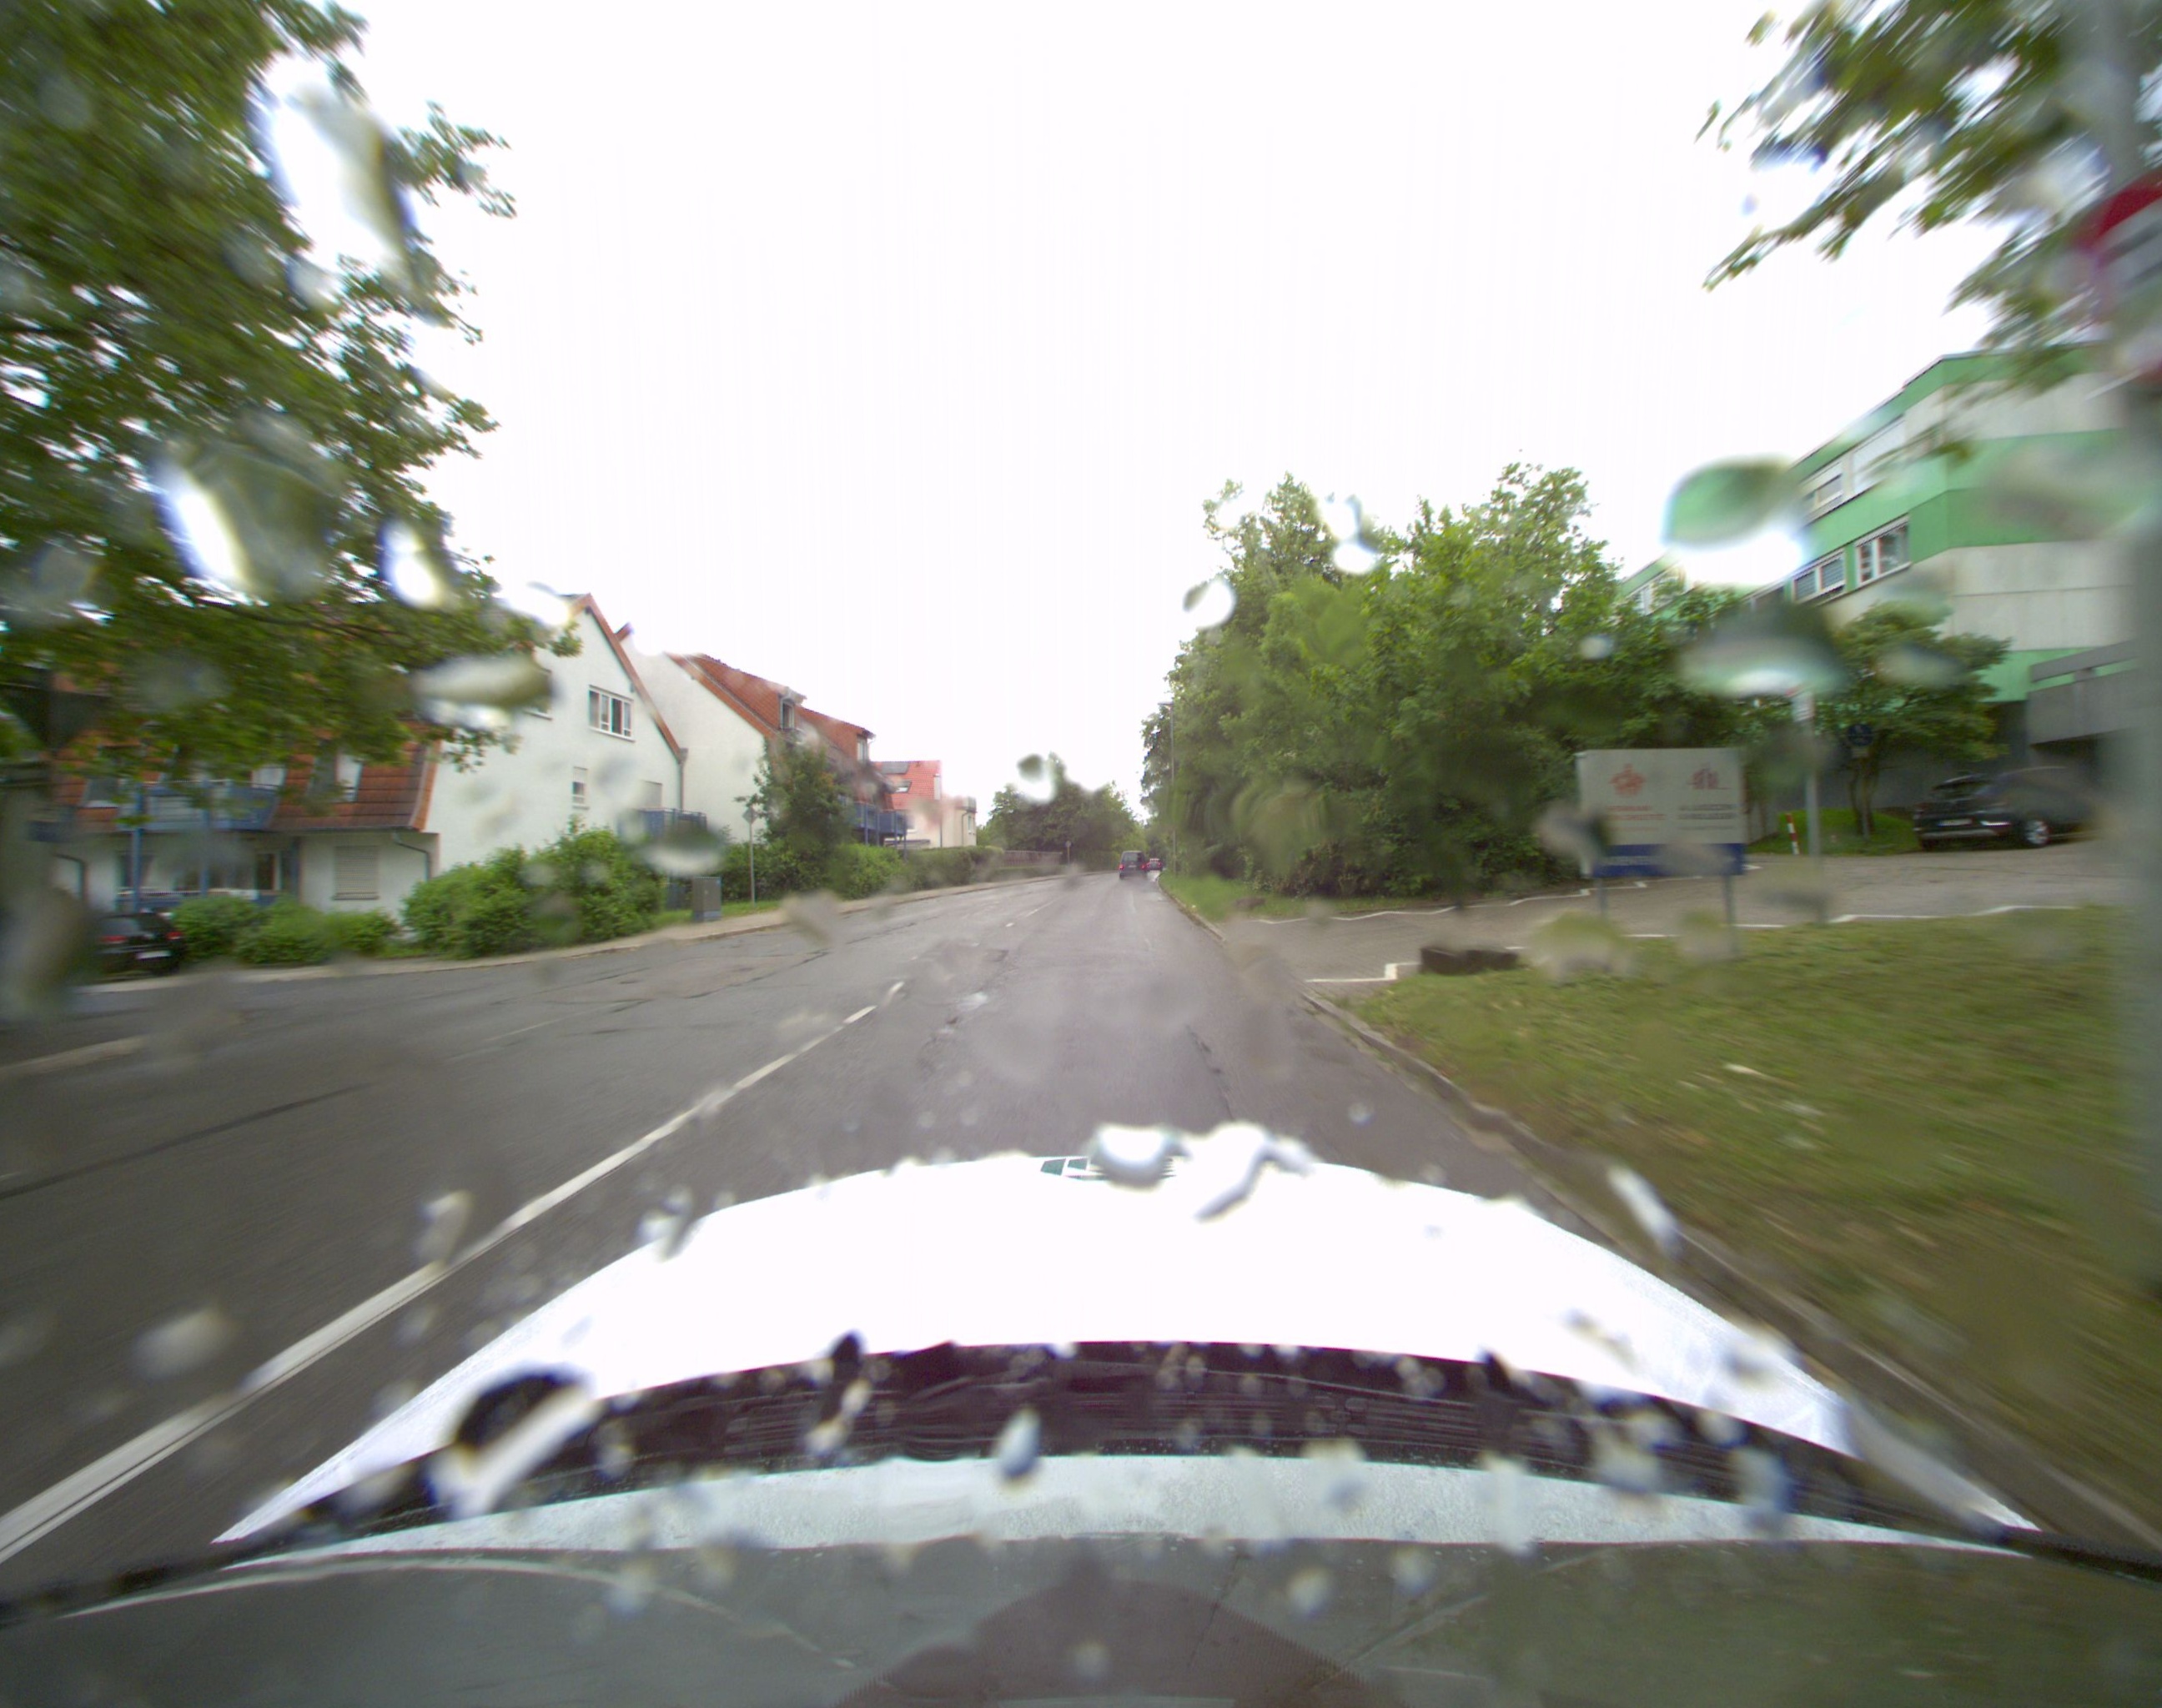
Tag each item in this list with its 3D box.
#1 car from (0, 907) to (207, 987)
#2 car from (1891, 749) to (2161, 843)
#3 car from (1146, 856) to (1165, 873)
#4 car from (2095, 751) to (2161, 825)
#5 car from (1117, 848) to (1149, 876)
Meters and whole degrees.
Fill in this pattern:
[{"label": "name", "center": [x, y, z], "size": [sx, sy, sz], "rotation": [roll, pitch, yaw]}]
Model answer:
[{"label": "car", "center": [-21.789, 2.020, 17.727], "size": [3.965, 1.442, 1.742], "rotation": [-3, 0, 7]}, {"label": "car", "center": [19.899, -1.177, 17.116], "size": [3.982, 1.750, 1.996], "rotation": [-1, 0, -6]}, {"label": "car", "center": [8.525, 1.150, 92.691], "size": [1.940, 1.750, 4.008], "rotation": [-1, 0, 7]}, {"label": "car", "center": [25.748, -1.549, 17.978], "size": [3.965, 1.574, 1.939], "rotation": [-2, 0, 7]}, {"label": "car", "center": [3.496, 0.495, 53.980], "size": [1.984, 1.794, 4.005], "rotation": [1, 0, 5]}]
